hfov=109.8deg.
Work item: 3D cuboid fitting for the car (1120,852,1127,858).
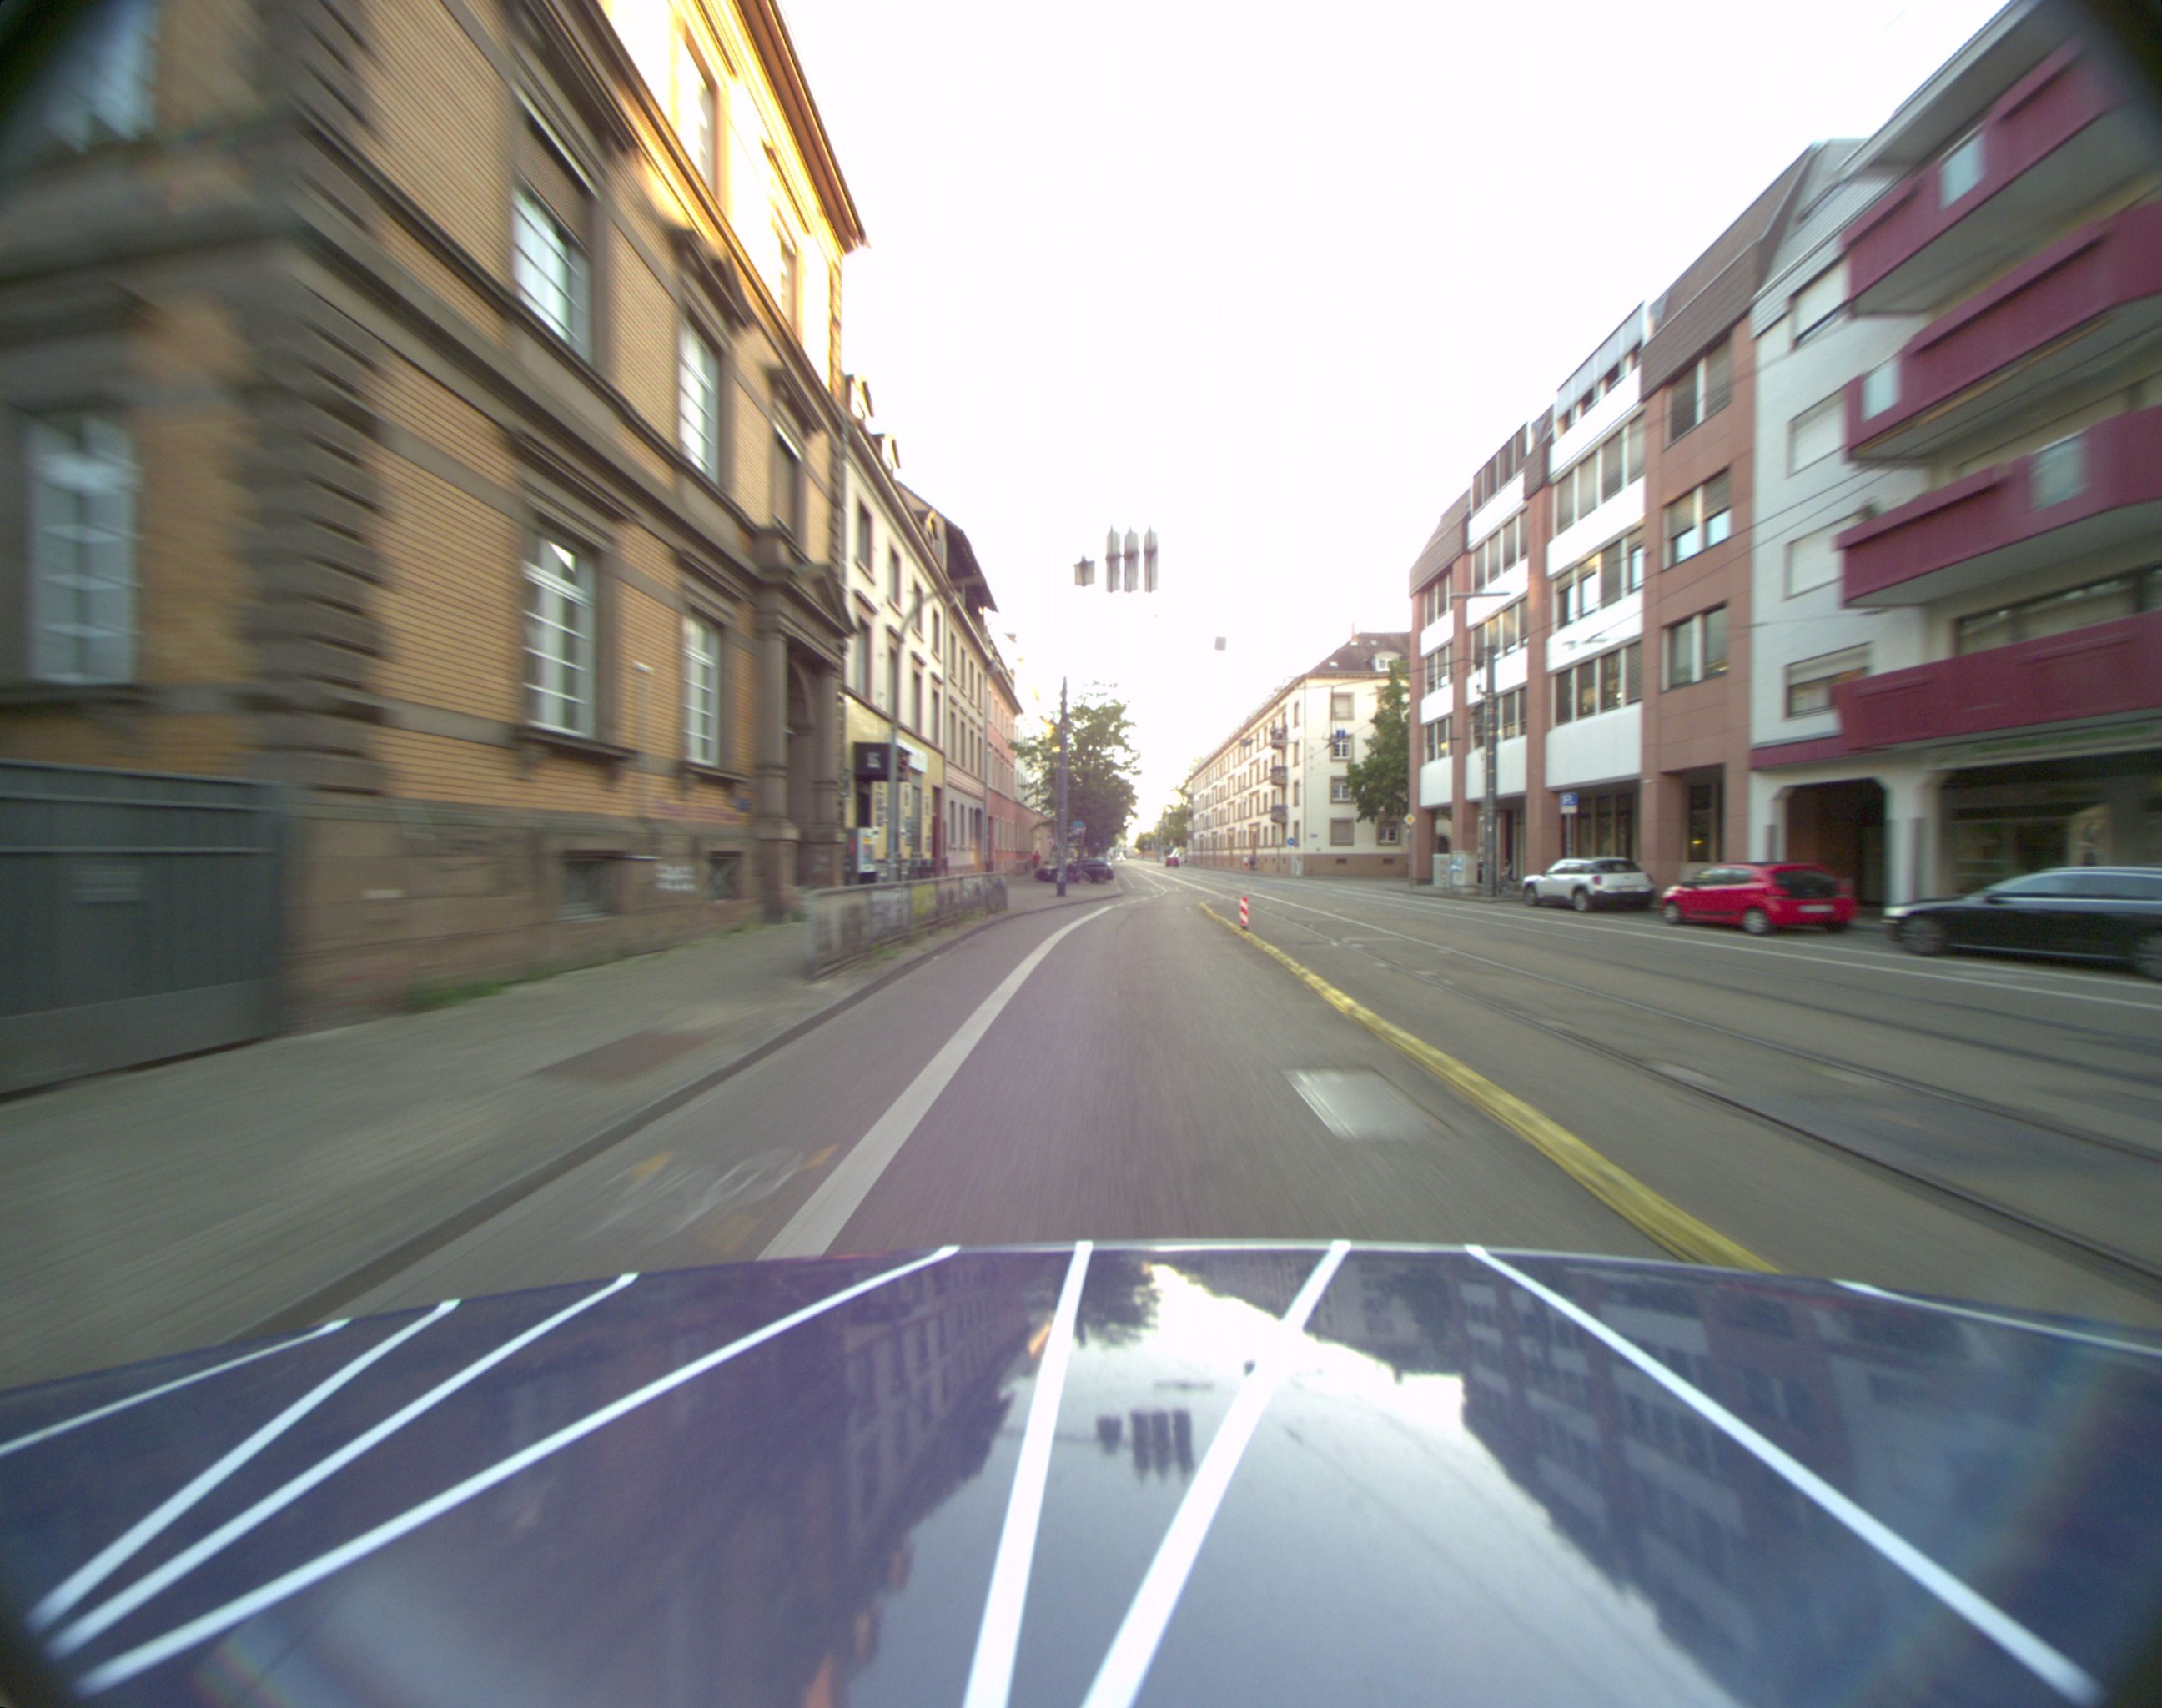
[{"bbox_3d":[12.114,0.208,218.079,1.998,1.674,4.001,-1,0,2],"label":"car"}]

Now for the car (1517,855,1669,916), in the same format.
[{"bbox_3d":[14.683,0.831,22.094,1.721,1.546,4.204,-1,0,3],"label":"car"}]

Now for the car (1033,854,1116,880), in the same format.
[{"bbox_3d":[-0.368,0.773,45.479,4.625,1.448,1.707,2,0,-22],"label":"car"}]

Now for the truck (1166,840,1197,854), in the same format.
[{"bbox_3d":[24.679,-1.708,186.976,7.076,3.408,2.566,-1,0,-1],"label":"truck"}]

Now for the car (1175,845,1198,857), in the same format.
[{"bbox_3d":[25.172,-0.699,181.320,5.232,2.582,2.229,-1,0,-2],"label":"car"}]

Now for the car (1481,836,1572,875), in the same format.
[{"bbox_3d":[30.586,0.082,52.453,2.097,2.574,6.127,0,0,-7],"label":"car"}]

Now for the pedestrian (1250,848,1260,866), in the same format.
[{"bbox_3d":[17.310,0.288,75.540,0.797,1.692,0.981,0,1,0],"label":"pedestrian"}]

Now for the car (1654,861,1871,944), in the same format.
[{"bbox_3d":[14.281,0.942,16.212,1.615,1.471,3.480,-2,0,3],"label":"car"}]

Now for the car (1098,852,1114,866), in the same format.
[{"bbox_3d":[2.533,0.502,76.860,1.623,1.373,3.776,2,0,2],"label":"car"}]

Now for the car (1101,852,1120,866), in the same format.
[{"bbox_3d":[3.249,0.534,82.754,1.784,1.373,4.692,2,0,4],"label":"car"}]

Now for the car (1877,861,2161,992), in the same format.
[{"bbox_3d":[14.169,0.904,10.321,1.998,1.471,4.481,-2,0,0],"label":"car"}]

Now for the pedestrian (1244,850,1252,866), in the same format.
[{"bbox_3d":[16.585,0.358,75.494,0.592,1.600,0.811,0,1,0],"label":"pedestrian"}]

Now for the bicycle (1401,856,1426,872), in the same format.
[{"bbox_3d":[24.742,0.733,56.512,1.685,1.206,0.603,0,1,-15],"label":"bicycle"}]

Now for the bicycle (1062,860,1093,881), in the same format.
[{"bbox_3d":[-0.182,0.941,43.218,1.694,1.095,0.928,2,1,1],"label":"bicycle"}]

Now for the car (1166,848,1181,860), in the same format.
[{"bbox_3d":[12.745,-0.023,105.091,1.563,1.549,3.754,1,0,0],"label":"car"}]

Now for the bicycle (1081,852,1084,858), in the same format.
[{"bbox_3d":[0.327,0.206,164.023,0.471,1.203,1.586,0,0,2],"label":"bicycle"}]

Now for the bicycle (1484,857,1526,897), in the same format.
[{"bbox_3d":[15.087,0.793,27.095,0.609,1.369,2.260,0,0,10],"label":"bicycle"}]
